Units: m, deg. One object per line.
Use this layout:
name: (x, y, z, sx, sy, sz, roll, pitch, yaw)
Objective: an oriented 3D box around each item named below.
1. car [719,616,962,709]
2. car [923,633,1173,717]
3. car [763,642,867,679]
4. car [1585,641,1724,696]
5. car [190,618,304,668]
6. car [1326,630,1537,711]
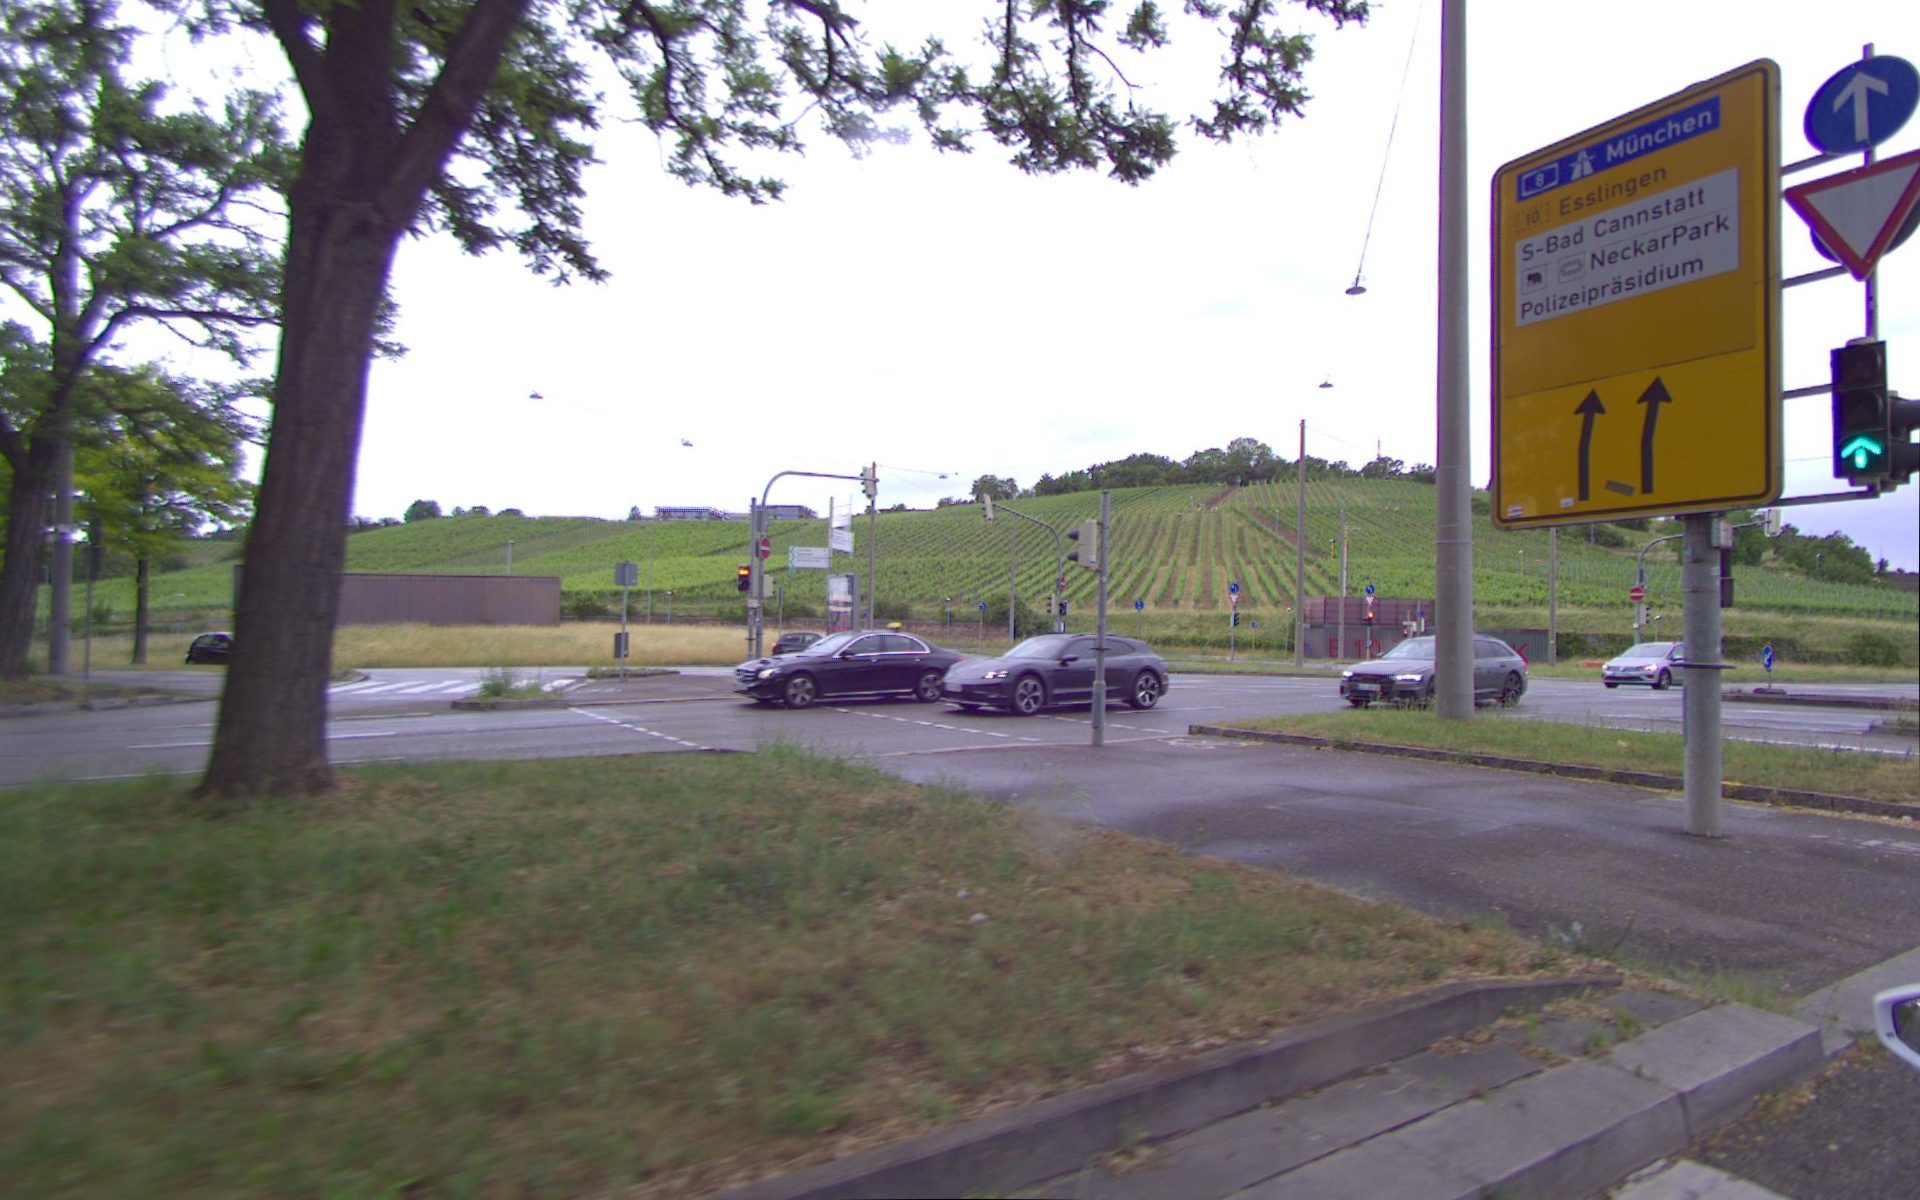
car: (-2.338, 1.155, 20.113, 4.517, 1.645, 1.818, 1, 0, -33)
car: (1.730, 1.333, 18.903, 4.621, 1.381, 1.812, 1, -2, -35)
car: (-6.119, 2.540, 42.426, 3.919, 1.306, 1.800, 2, 0, 16)
car: (22.778, 2.237, 32.950, 4.141, 1.596, 1.986, 3, 0, -27)
car: (-27.273, 1.612, 38.418, 3.927, 1.684, 1.997, 2, 0, 28)
car: (9.989, 1.413, 21.134, 4.843, 1.508, 1.889, 1, -2, -35)
